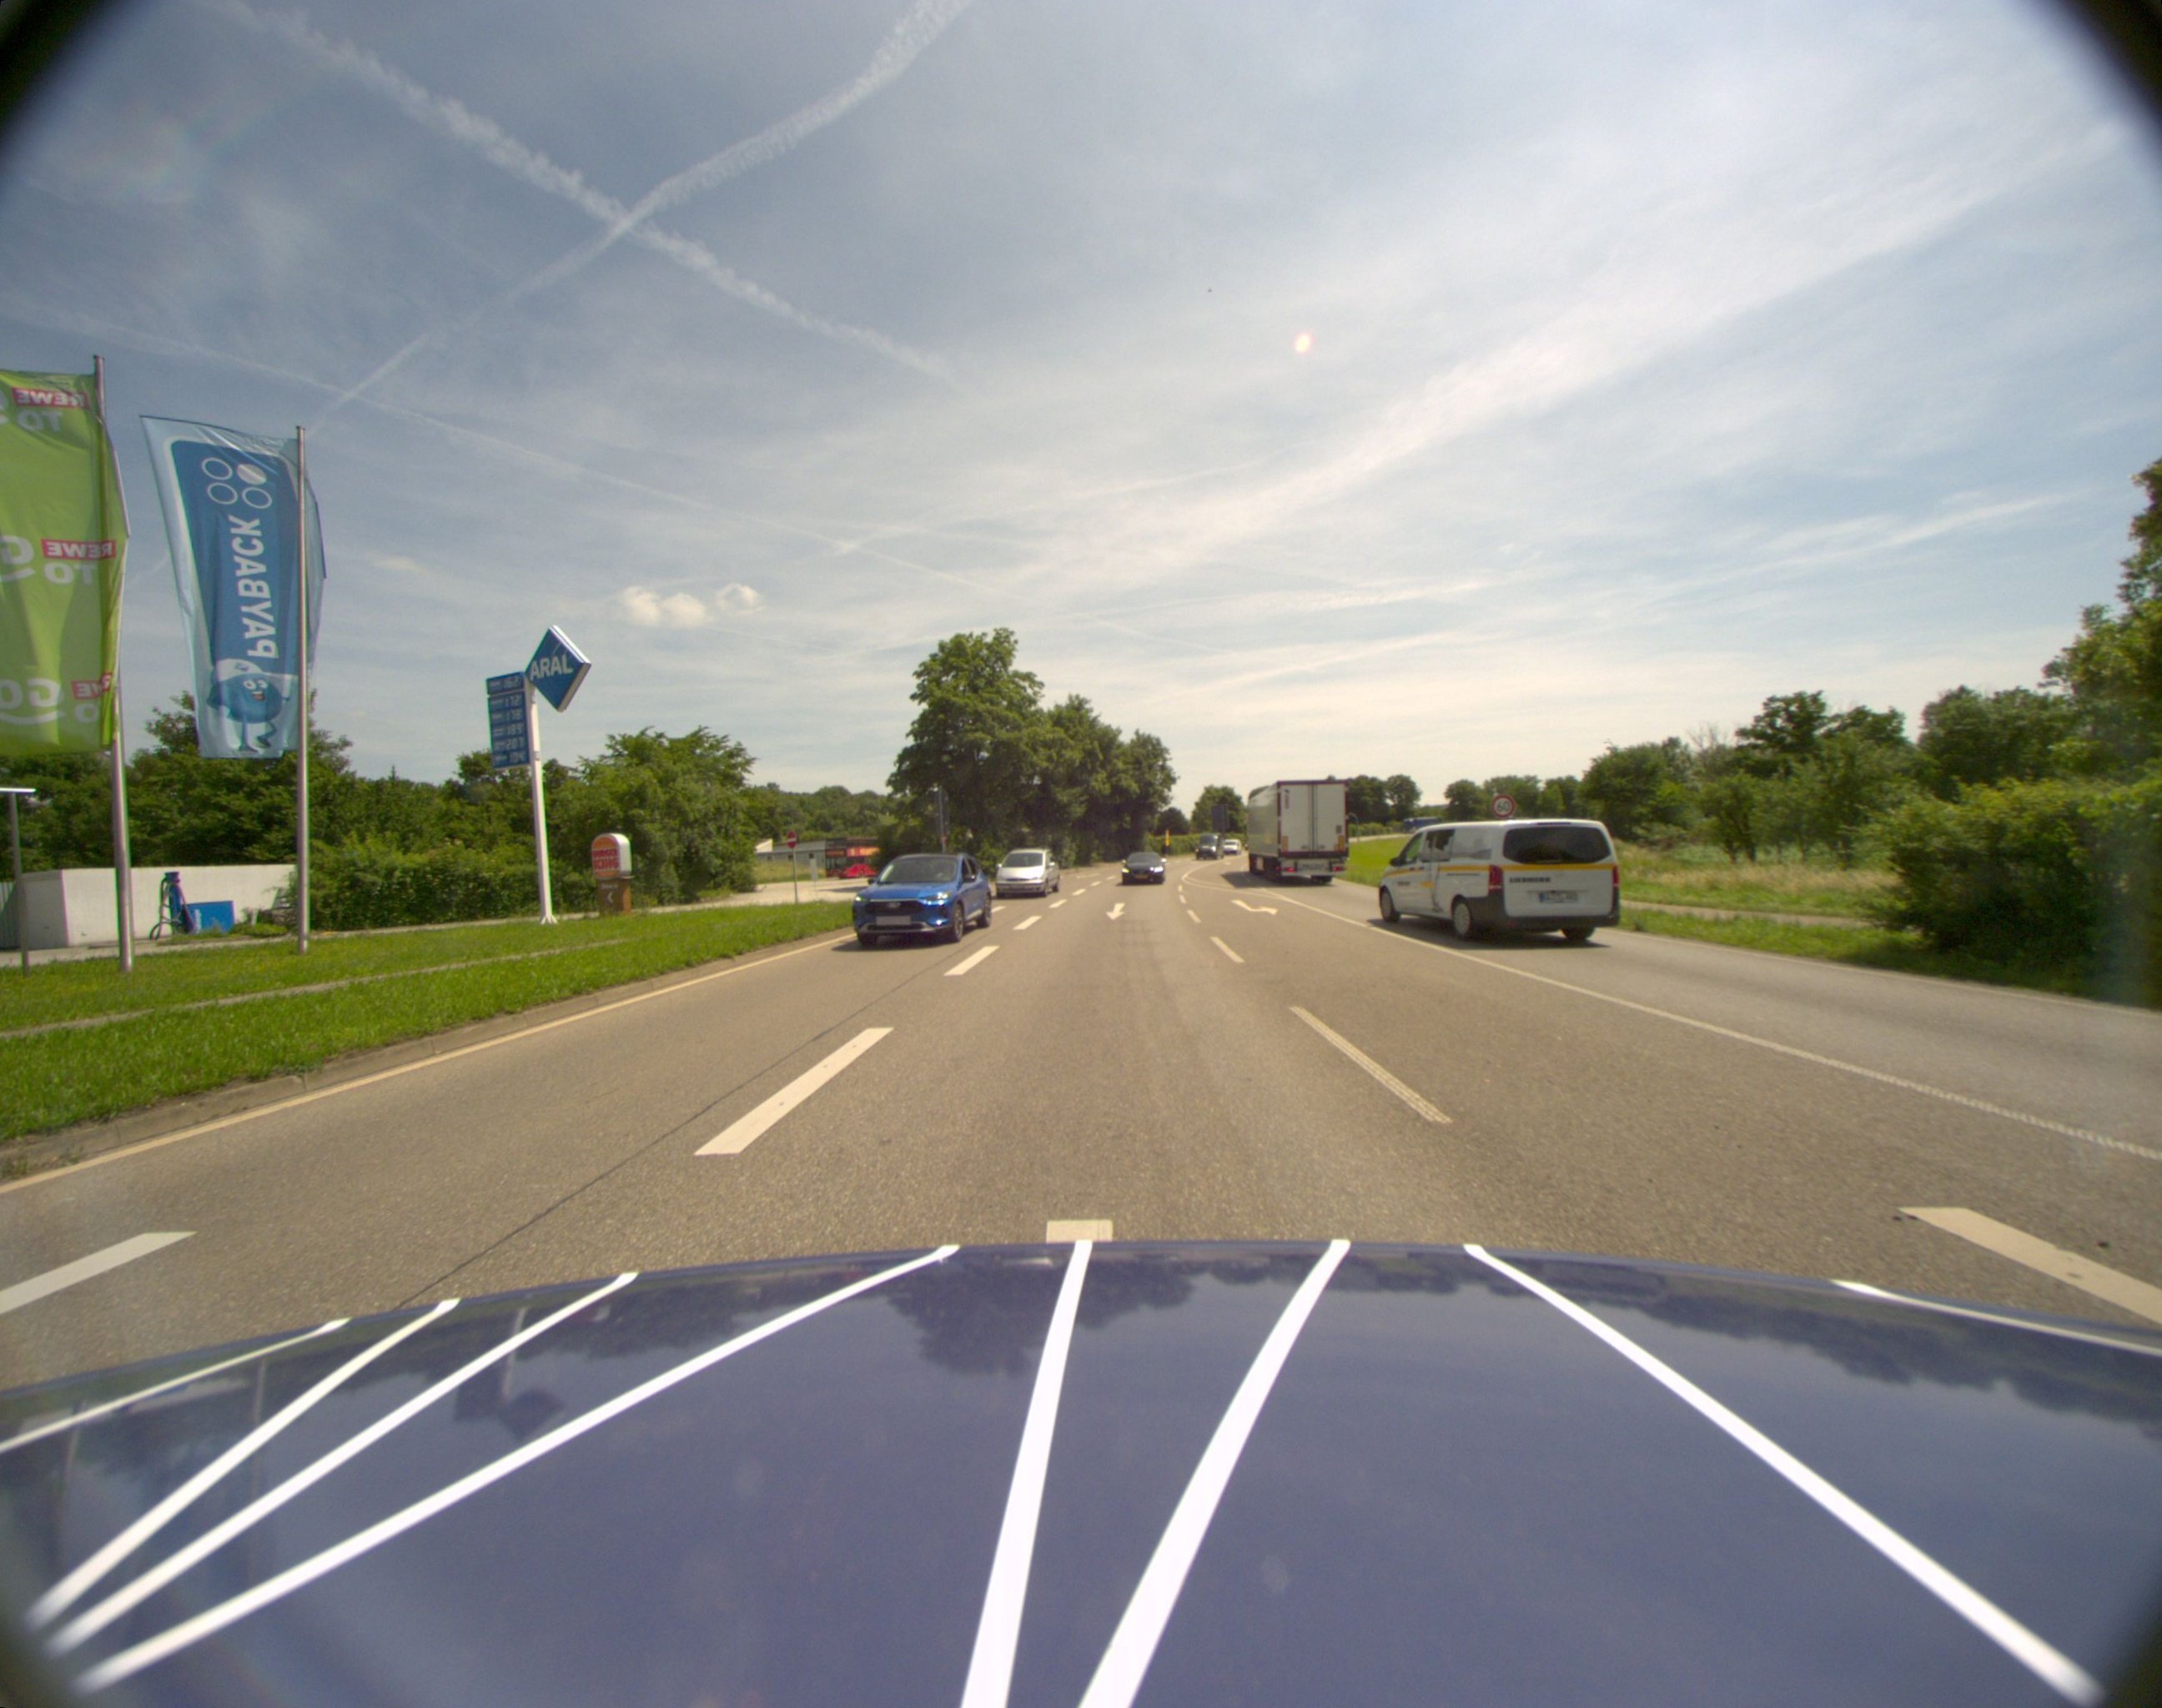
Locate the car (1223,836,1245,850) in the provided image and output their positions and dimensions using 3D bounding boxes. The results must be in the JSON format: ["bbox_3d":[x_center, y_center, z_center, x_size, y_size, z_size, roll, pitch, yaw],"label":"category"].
[{"bbox_3d":[18.013,-1.325,89.298,1.780,1.484,4.163,-1,1,23],"label":"car"}]

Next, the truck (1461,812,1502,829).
[{"bbox_3d":[117.745,-9.985,223.127,16.183,4.583,2.739,-3,2,-31],"label":"truck"}]

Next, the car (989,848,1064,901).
[{"bbox_3d":[-1.885,0.688,27.925,1.864,1.682,4.528,-2,1,7],"label":"car"}]

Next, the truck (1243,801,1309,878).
[{"bbox_3d":[10.563,-0.787,41.685,2.783,3.920,5.708,0,1,7],"label":"truck"}]

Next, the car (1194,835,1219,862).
[{"bbox_3d":[12.173,-0.548,73.837,1.980,2.504,4.158,-2,1,4],"label":"car"}]

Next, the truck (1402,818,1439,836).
[{"bbox_3d":[90.590,-7.264,202.583,16.189,4.583,2.738,-3,2,-43],"label":"truck"}]

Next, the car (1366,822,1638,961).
[{"bbox_3d":[6.734,0.524,12.991,1.877,1.854,5.141,-2,0,2],"label":"car"}]

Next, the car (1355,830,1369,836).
[{"bbox_3d":[67.800,-5.056,183.209,1.779,1.484,4.165,-1,2,39],"label":"car"}]

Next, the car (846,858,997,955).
[{"bbox_3d":[-2.970,0.915,15.181,1.782,1.549,4.388,-2,1,4],"label":"car"}]

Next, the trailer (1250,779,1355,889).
[{"bbox_3d":[9.555,-0.802,34.182,2.783,4.078,11.666,0,1,8],"label":"trailer"}]

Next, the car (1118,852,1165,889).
[{"bbox_3d":[2.746,0.683,33.941,1.782,1.484,4.160,-2,0,8],"label":"car"}]
